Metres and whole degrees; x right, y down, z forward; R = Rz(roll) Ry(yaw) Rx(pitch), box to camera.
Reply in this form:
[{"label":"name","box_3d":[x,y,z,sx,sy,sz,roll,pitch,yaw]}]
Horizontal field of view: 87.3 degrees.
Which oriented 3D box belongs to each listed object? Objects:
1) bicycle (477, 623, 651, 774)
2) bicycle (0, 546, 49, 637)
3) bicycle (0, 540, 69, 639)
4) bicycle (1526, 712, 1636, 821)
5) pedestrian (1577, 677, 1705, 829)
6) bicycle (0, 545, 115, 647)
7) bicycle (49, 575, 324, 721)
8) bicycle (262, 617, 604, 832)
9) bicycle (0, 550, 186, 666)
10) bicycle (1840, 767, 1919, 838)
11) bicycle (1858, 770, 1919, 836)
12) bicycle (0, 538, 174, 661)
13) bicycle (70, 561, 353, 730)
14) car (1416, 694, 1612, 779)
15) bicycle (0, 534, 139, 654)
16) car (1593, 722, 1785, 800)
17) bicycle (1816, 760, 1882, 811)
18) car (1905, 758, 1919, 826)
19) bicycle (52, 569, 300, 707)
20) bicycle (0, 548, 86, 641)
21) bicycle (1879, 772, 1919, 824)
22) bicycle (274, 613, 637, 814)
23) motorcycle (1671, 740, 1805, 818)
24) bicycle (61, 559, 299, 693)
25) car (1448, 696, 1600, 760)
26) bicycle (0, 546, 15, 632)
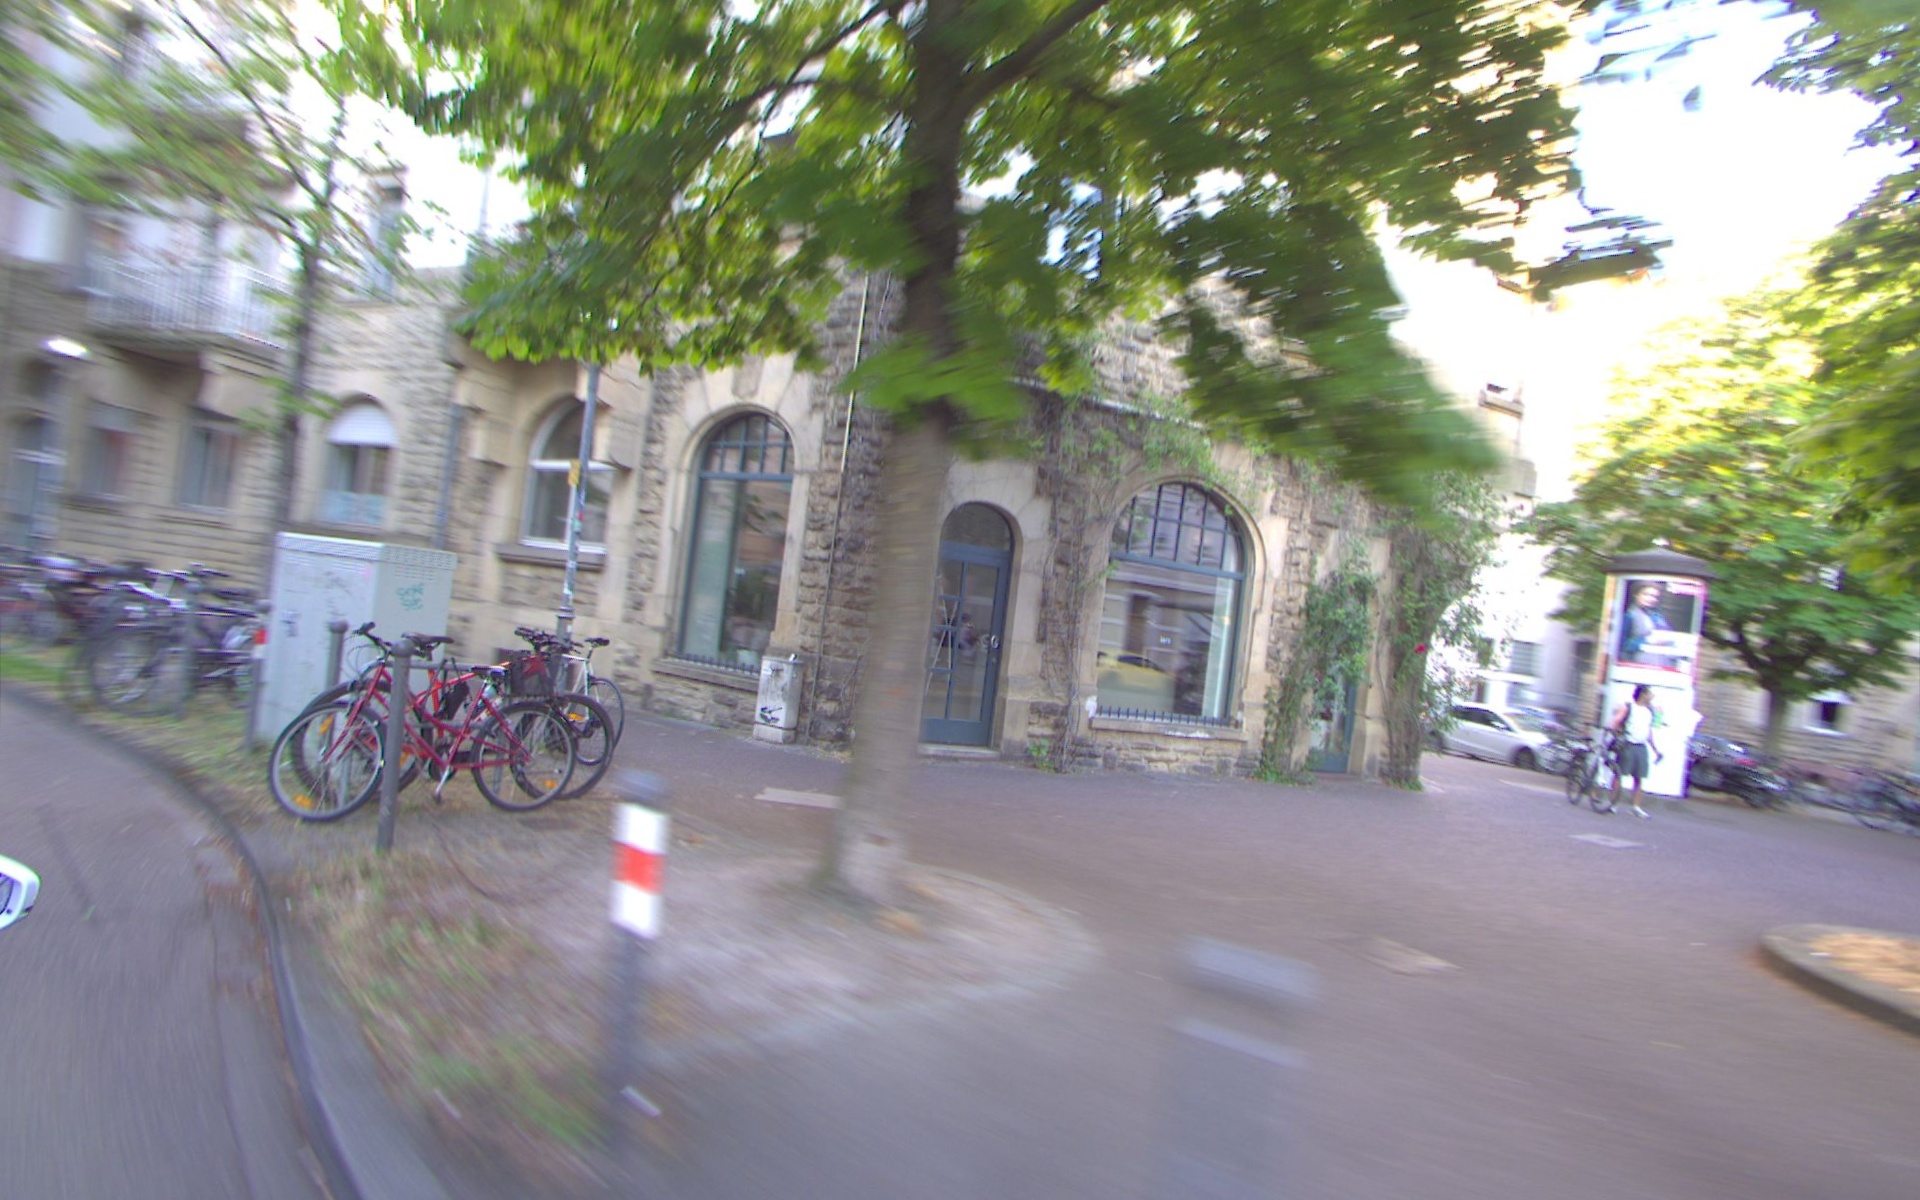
[{"label":"bicycle","box_3d":[-3.271,0.768,8.225,1.701,0.980,0.431,6,-1,38]},{"label":"bicycle","box_3d":[-12.066,-0.169,11.805,0.525,1.073,1.921,7,-1,22]},{"label":"bicycle","box_3d":[-11.574,-0.171,11.591,0.411,1.130,1.855,7,-1,25]},{"label":"bicycle","box_3d":[8.583,2.260,13.988,0.623,1.202,1.915,7,-1,14]},{"label":"pedestrian","box_3d":[9.131,2.011,13.551,0.962,1.811,1.006,7,0,14]},{"label":"bicycle","box_3d":[-10.785,-0.071,11.263,0.542,1.077,1.921,7,-1,22]},{"label":"bicycle","box_3d":[-6.197,0.420,8.155,0.546,1.032,1.605,6,-1,32]},{"label":"bicycle","box_3d":[-2.954,0.711,5.778,0.426,1.052,1.599,6,-1,44]},{"label":"bicycle","box_3d":[-9.171,0.104,10.386,0.439,1.076,1.796,7,-1,24]},{"label":"bicycle","box_3d":[16.517,3.572,17.450,0.572,1.007,1.730,7,-1,-23]},{"label":"bicycle","box_3d":[17.168,3.677,17.819,0.572,1.007,1.730,7,-1,-23]},{"label":"bicycle","box_3d":[-9.495,0.012,10.620,0.439,1.182,1.796,7,-1,24]},{"label":"bicycle","box_3d":[-5.822,0.386,7.923,0.546,1.161,1.605,6,-1,32]},{"label":"car","box_3d":[13.679,3.346,25.084,1.804,1.500,3.887,8,-3,-25]},{"label":"bicycle","box_3d":[-10.175,-0.072,10.849,0.542,1.214,1.921,7,-1,22]},{"label":"car","box_3d":[20.322,4.463,28.215,1.805,1.500,3.885,8,-3,-26]},{"label":"bicycle","box_3d":[22.234,4.652,25.153,1.814,1.090,0.587,8,-1,-28]},{"label":"car","box_3d":[21.904,4.233,20.030,1.859,1.400,4.018,7,-2,-22]},{"label":"bicycle","box_3d":[-6.816,0.369,8.840,0.412,1.076,1.606,6,-1,28]},{"label":"bicycle","box_3d":[-11.274,-0.102,11.494,0.411,1.026,1.855,7,-1,25]},{"label":"bicycle","box_3d":[22.732,4.735,23.973,1.814,1.090,0.587,8,-1,-28]},{"label":"bicycle","box_3d":[-3.028,0.715,6.233,0.426,1.052,1.889,6,-1,44]},{"label":"motorcycle","box_3d":[14.216,3.251,18.443,0.572,1.066,1.823,7,-1,-23]},{"label":"bicycle","box_3d":[-7.045,0.275,9.184,0.412,1.088,1.606,6,-1,28]},{"label":"car","box_3d":[18.248,4.123,32.711,1.806,1.500,3.882,8,-3,-28]},{"label":"bicycle","box_3d":[-12.526,-0.215,11.930,0.411,1.064,1.856,7,-1,21]}]
